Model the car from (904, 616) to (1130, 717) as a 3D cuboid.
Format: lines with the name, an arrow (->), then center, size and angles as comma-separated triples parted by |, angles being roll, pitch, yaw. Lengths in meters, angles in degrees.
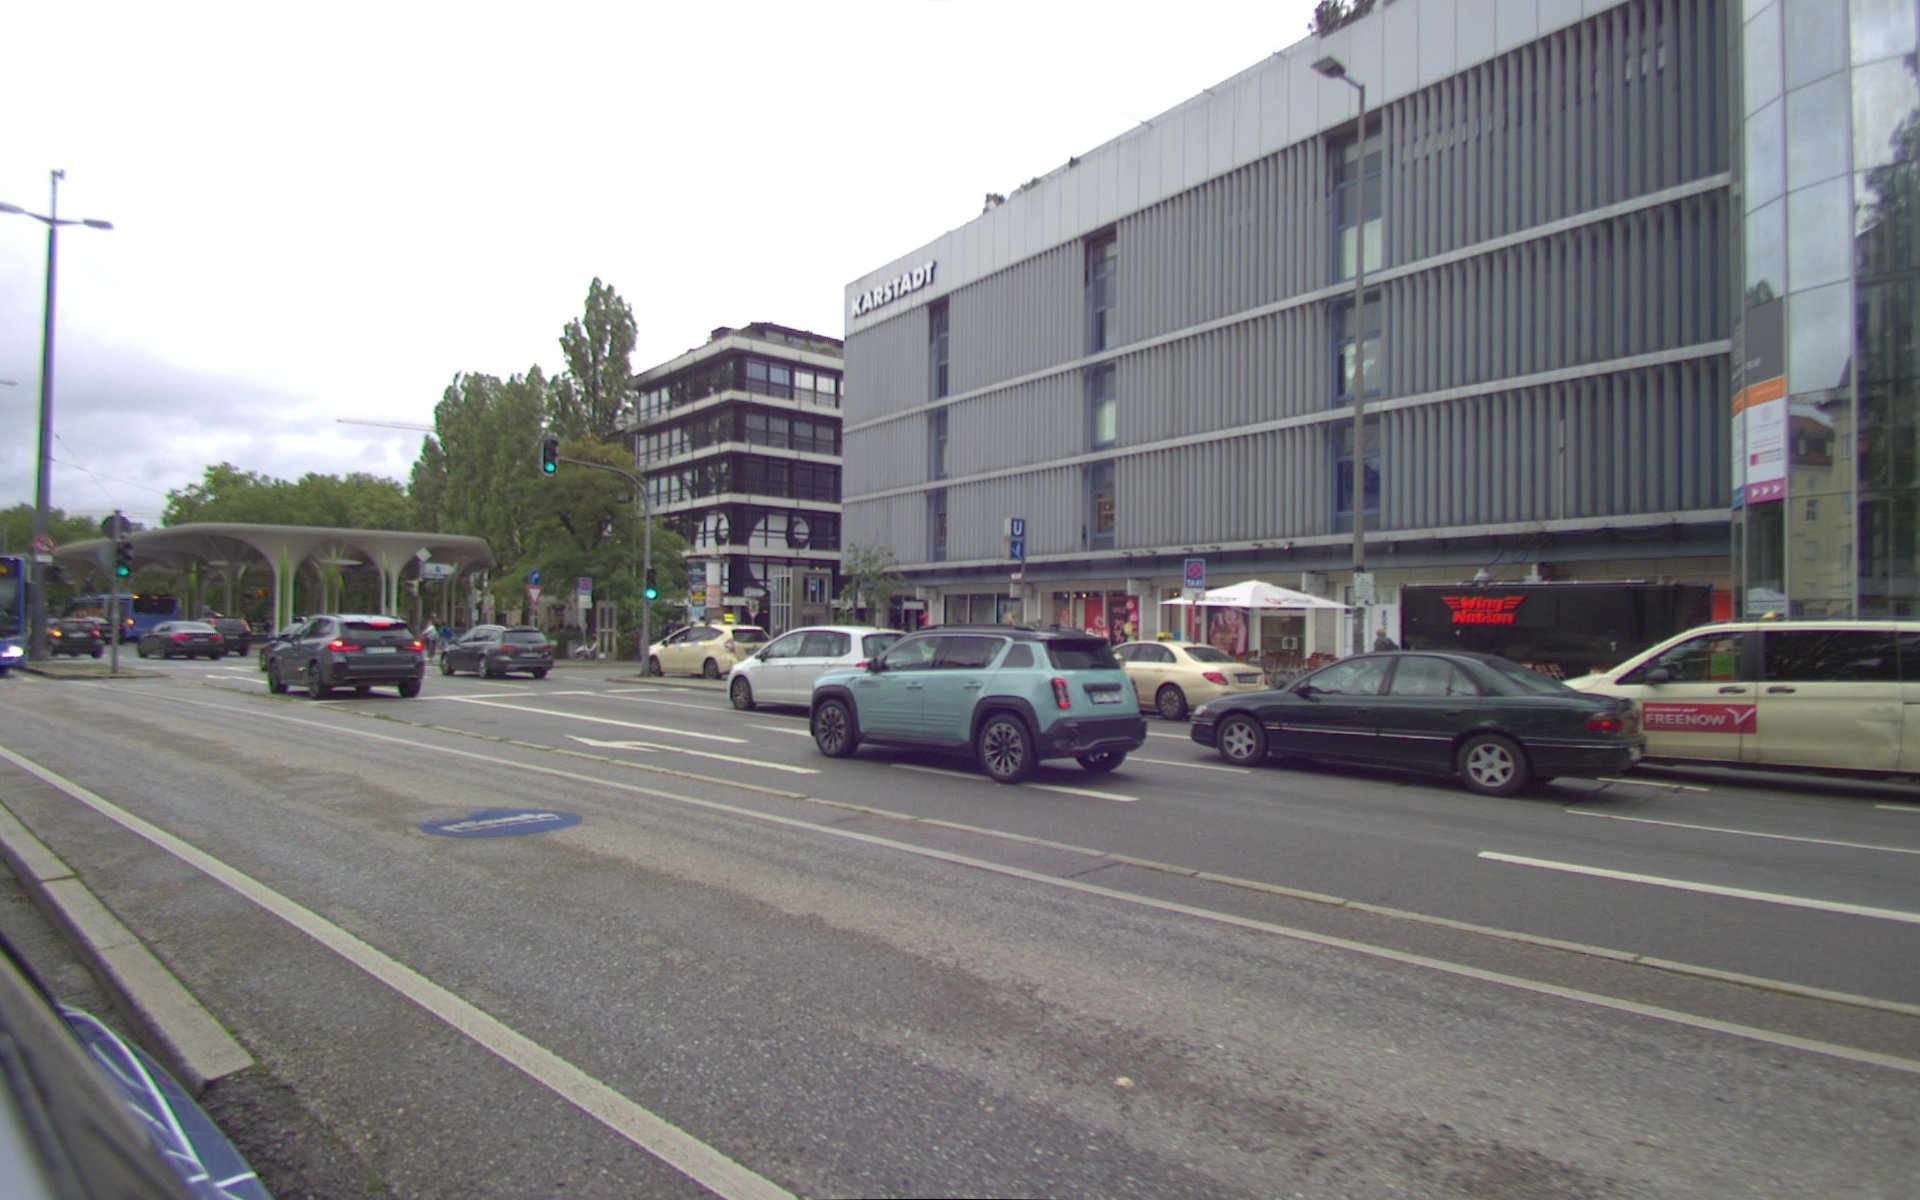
car -> 0.984, 1.216, 19.536 | 1.861, 1.711, 4.391 | 4, -3, -39

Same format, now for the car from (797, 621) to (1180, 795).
car -> 0.198, 1.060, 11.173 | 3.999, 1.557, 1.797 | -1, -4, 42

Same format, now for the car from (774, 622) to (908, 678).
car -> -3.653, 1.454, 30.631 | 3.999, 1.579, 1.886 | -1, -2, 42

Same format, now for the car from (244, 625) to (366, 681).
car -> -19.263, 1.500, 29.693 | 4.733, 1.498, 1.816 | -1, -3, 42

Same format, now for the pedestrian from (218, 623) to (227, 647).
pedestrian -> -45.740, 2.170, 62.755 | 0.316, 1.514, 0.317 | -1, -2, 31

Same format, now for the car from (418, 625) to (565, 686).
car -> -13.406, 1.527, 28.828 | 4.945, 1.558, 1.938 | -1, -3, 41

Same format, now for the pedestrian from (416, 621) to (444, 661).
pedestrian -> -21.403, 1.645, 40.884 | 0.754, 1.563, 0.636 | 0, 0, 15

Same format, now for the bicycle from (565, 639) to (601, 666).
bicycle -> -14.931, 2.070, 40.093 | 0.419, 1.024, 1.282 | -1, -3, 38

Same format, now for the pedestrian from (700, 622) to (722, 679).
pedestrian -> -7.740, 1.554, 31.404 | 0.428, 1.742, 0.518 | 0, 0, 40

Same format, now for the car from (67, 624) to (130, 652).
car -> -50.105, 2.189, 58.829 | 4.612, 1.589, 1.974 | -1, -2, 39

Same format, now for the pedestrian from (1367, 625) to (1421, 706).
pedestrian -> 9.934, 1.485, 23.189 | 0.778, 1.819, 0.820 | 1, -2, -17

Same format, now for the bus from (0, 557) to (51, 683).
bus -> -27.151, 0.474, 26.803 | 11.203, 2.966, 2.905 | 0, -1, 39

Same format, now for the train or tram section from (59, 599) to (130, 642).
train or tram section -> -64.388, 1.559, 75.201 | 7.402, 3.024, 2.804 | -1, -2, 40

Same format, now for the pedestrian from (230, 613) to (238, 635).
pedestrian -> -45.125, 1.495, 62.870 | 0.270, 1.387, 0.299 | -1, -2, 38

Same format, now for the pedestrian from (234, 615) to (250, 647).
pedestrian -> -42.705, 1.839, 60.202 | 0.656, 1.865, 0.790 | 2, -2, -30

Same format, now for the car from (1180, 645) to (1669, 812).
car -> 4.951, 1.252, 11.323 | 4.688, 1.420, 1.710 | -1, -3, 43

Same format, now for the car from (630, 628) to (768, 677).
car -> -8.643, 1.701, 33.499 | 4.276, 1.522, 1.843 | 0, -2, 26

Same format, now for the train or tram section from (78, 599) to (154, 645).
train or tram section -> -58.758, 1.548, 70.404 | 7.402, 3.024, 2.804 | -1, -2, 40

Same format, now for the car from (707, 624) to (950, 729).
car -> -2.416, 1.255, 17.946 | 4.289, 1.612, 1.972 | -1, -3, 43

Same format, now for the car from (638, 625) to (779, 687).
car -> -7.202, 1.535, 28.744 | 4.473, 1.624, 1.571 | -1, -2, 40

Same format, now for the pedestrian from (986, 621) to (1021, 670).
pedestrian -> 1.422, 1.457, 32.862 | 0.722, 1.557, 0.901 | 2, -2, -37

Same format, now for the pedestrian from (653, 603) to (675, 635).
pedestrian -> -12.603, 0.815, 43.056 | 0.773, 1.318, 0.537 | -1, -2, 41

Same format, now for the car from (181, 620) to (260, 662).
car -> -33.396, 1.836, 45.685 | 4.598, 1.791, 1.972 | -1, -2, 42

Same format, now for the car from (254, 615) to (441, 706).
car -> -12.381, 1.162, 20.360 | 4.412, 1.633, 1.972 | -1, -3, 42

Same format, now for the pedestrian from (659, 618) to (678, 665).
pedestrian -> -11.194, 1.579, 38.872 | 0.510, 1.792, 0.555 | 0, 0, 43

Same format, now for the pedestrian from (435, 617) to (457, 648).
pedestrian -> -30.287, 1.894, 59.623 | 0.980, 1.791, 0.850 | -1, -2, 41

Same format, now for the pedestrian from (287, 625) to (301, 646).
pedestrian -> -42.453, 2.274, 64.486 | 0.591, 1.348, 0.542 | -1, -2, 40

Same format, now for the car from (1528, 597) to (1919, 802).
car -> 9.589, 1.039, 11.337 | 5.322, 2.029, 1.971 | -1, -3, 43

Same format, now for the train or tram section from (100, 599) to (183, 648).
train or tram section -> -53.132, 1.534, 65.609 | 7.402, 3.024, 2.804 | -1, -2, 40

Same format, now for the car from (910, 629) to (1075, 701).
car -> 0.714, 1.507, 24.494 | 1.731, 1.548, 4.005 | 2, -2, -41

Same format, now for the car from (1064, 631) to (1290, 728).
car -> 4.077, 1.440, 19.498 | 1.750, 1.628, 4.006 | 2, -2, -41

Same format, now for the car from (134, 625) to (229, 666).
car -> -31.093, 1.770, 40.378 | 5.018, 1.519, 1.973 | -1, -3, 41

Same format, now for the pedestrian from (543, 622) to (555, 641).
pedestrian -> -38.719, 2.963, 95.308 | 0.788, 1.737, 0.828 | 2, -2, -38

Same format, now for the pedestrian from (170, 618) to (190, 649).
pedestrian -> -44.040, 1.876, 57.116 | 0.787, 1.762, 0.702 | -1, -3, 40

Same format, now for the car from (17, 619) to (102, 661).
car -> -34.691, 1.526, 38.993 | 2.775, 1.518, 1.547 | 0, -2, 27

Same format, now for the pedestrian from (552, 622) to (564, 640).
pedestrian -> -38.161, 2.962, 96.071 | 0.788, 1.737, 0.828 | 2, -2, -38

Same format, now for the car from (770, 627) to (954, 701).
car -> -2.422, 1.422, 23.865 | 1.921, 1.552, 4.855 | 2, -2, -40

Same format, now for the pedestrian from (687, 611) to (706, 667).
pedestrian -> -8.014, 1.181, 30.770 | 0.425, 1.668, 0.360 | 0, 0, 40
